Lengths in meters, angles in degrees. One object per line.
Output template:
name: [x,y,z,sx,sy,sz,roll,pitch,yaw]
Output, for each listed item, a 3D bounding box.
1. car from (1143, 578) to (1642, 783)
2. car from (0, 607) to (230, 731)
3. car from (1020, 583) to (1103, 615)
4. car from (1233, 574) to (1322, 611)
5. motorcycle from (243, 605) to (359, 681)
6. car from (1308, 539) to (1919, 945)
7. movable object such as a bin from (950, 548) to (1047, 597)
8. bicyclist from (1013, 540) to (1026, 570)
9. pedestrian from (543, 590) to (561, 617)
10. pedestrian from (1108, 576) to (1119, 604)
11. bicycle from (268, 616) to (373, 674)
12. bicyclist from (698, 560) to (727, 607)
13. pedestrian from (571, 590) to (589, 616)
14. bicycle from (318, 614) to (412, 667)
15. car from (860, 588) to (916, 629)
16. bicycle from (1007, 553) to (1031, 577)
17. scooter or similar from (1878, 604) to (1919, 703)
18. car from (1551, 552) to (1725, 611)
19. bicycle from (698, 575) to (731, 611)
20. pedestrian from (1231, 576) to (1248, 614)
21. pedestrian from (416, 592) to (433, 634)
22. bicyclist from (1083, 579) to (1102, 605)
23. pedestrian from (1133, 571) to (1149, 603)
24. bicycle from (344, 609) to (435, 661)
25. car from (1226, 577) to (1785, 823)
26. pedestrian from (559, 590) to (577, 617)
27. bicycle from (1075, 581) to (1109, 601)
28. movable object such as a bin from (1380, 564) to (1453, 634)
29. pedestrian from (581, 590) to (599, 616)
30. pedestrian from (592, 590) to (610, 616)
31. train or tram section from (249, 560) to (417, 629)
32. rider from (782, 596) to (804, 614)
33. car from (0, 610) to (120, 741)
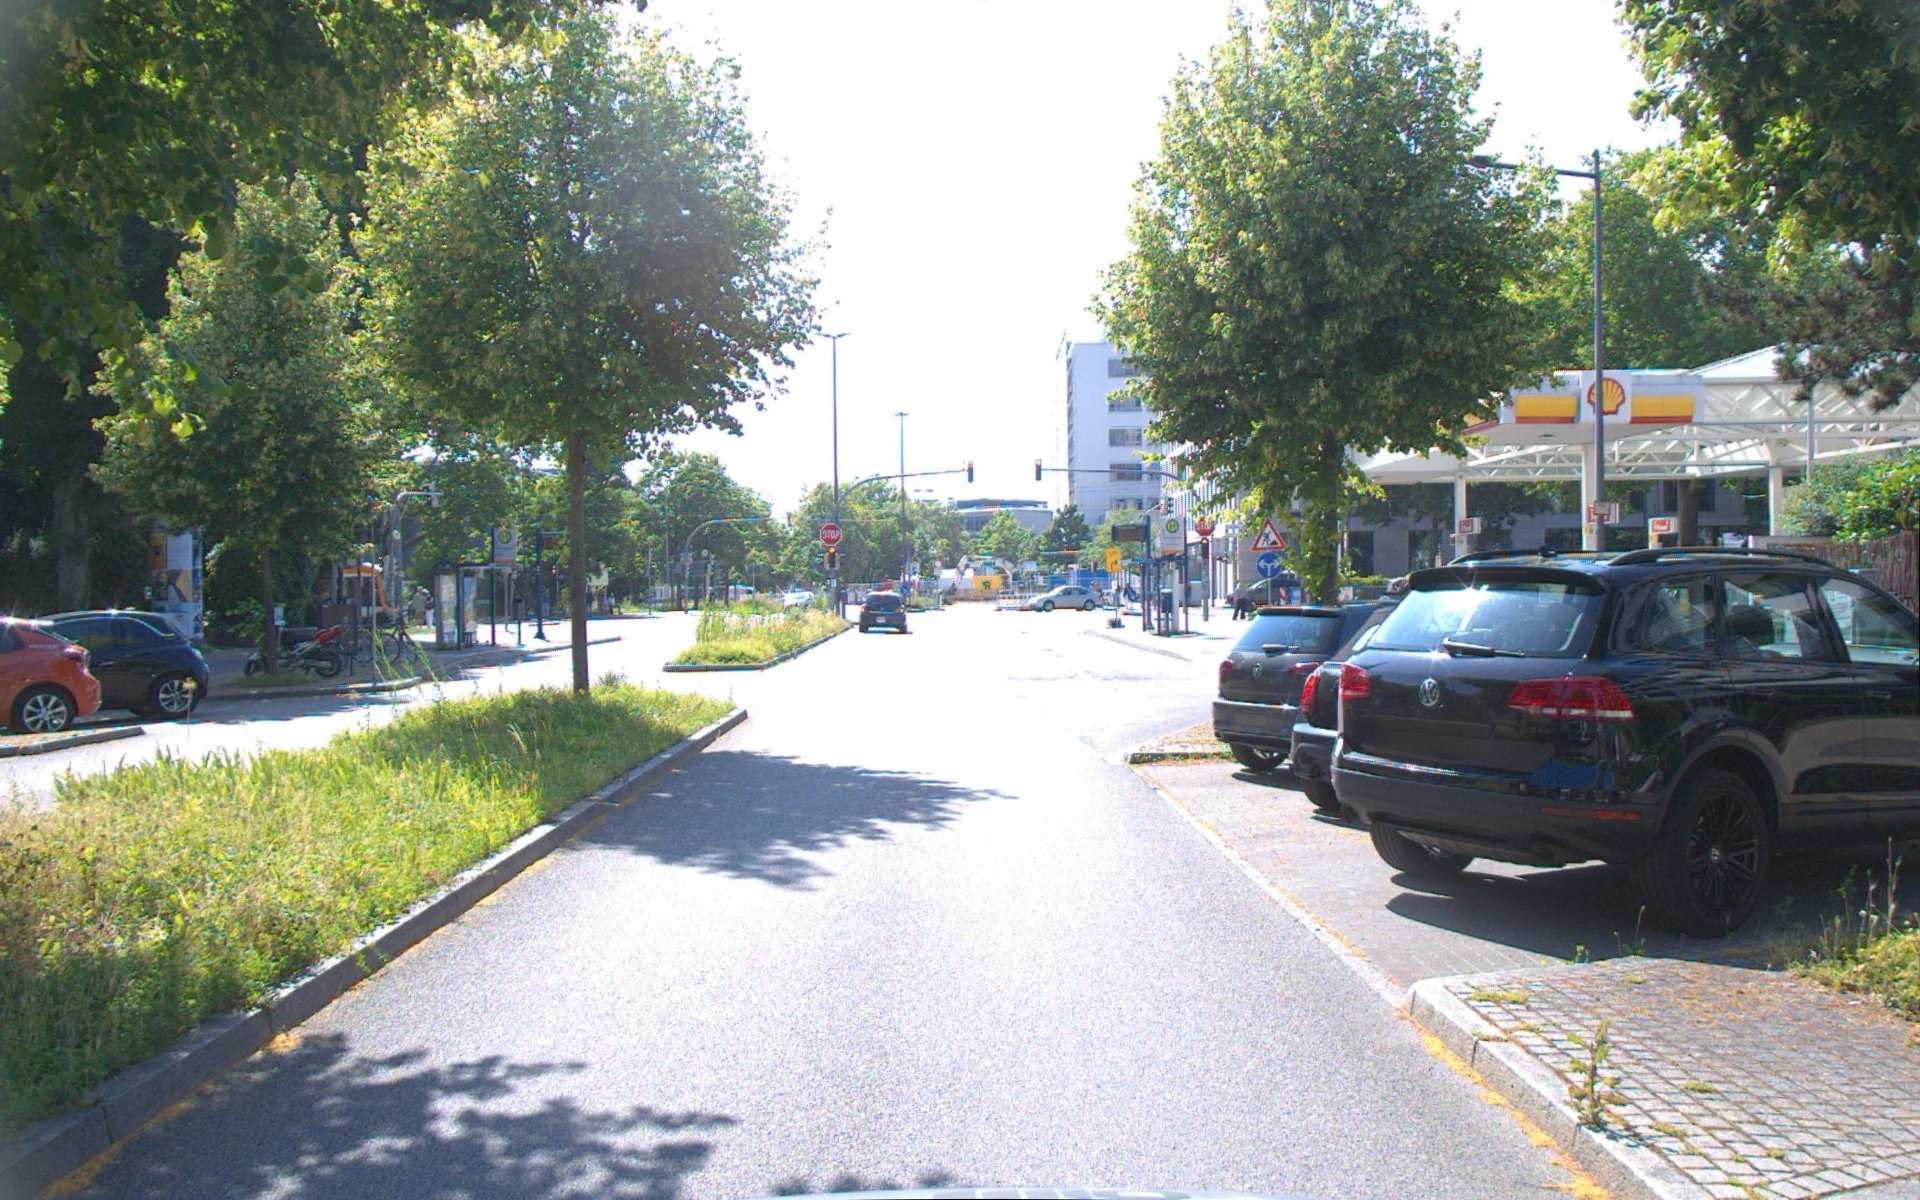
car: [3.852,0.608,14.666,4.058,1.557,1.981,-1,0,-29]
car: [-11.869,0.898,21.779,3.742,1.448,1.828,-2,0,-42]
car: [5.790,-0.063,94.421,4.313,1.667,1.990,-1,0,-18]
car: [18.402,-0.431,96.070,4.758,2.049,1.999,-1,0,-4]
motorcycle: [-11.891,0.766,29.878,1.810,1.307,0.692,-1,0,-8]
car: [4.201,0.555,8.865,4.684,1.689,1.734,-1,0,-32]
movable object such as a bin: [3.830,-2.716,163.732,9.476,4.629,3.164,0,0,1]
bicyclist: [5.101,-3.879,142.344,1.047,2.619,0.828,0,0,5]
pedestrian: [-25.300,0.220,102.496,0.641,1.639,0.942,0,0,22]
pedestrian: [10.103,-0.646,108.577,0.519,1.802,0.717,0,0,-14]
bicycle: [-12.744,0.900,32.964,1.807,1.111,0.693,-1,0,0]
bicyclist: [-16.078,-1.051,107.518,1.567,2.982,2.353,-1,0,-1]
pedestrian: [-23.651,0.193,102.903,0.641,1.639,0.942,0,0,22]
bicycle: [-13.085,0.889,36.397,1.807,1.125,0.693,-1,0,0]
car: [-2.675,0.279,60.632,1.954,1.422,3.997,-1,0,-4]
bicycle: [5.067,-3.025,142.343,2.044,1.996,0.828,0,0,5]
scooter or similar: [11.754,0.651,20.583,0.226,1.186,0.958,0,0,7]
car: [32.823,-0.910,80.199,7.282,2.721,2.900,-1,1,-4]
bicycle: [-16.073,-0.480,108.340,1.567,2.308,3.999,-1,0,-1]
pedestrian: [11.855,-0.219,70.088,0.606,1.570,0.461,-1,0,-2]
pedestrian: [-22.720,0.538,70.117,0.648,1.756,0.749,-1,0,-19]
bicyclist: [8.652,-0.517,107.975,1.213,1.702,0.525,0,0,7]
pedestrian: [11.704,-0.836,107.055,0.763,2.049,0.776,0,0,28]
bicycle: [-12.964,0.787,37.620,1.807,1.142,0.693,-1,0,0]
car: [4.009,0.602,12.010,3.948,1.499,1.750,-1,0,-32]
pedestrian: [-24.403,0.203,102.911,0.641,1.639,0.942,0,0,22]
bicycle: [8.595,-0.606,107.980,2.181,1.307,0.525,0,0,7]
movable object such as a bin: [11.282,-0.022,40.960,1.282,1.620,1.395,-3,0,-4]
pedestrian: [-22.851,0.185,102.136,0.641,1.639,0.942,0,0,22]
pedestrian: [-22.471,0.176,103.516,0.652,1.639,0.942,0,0,22]
train or tram section: [-32.216,-0.274,85.175,7.404,3.390,3.118,-1,0,-3]
rider: [-11.656,0.368,115.521,1.364,1.216,2.696,-1,0,-3]
car: [-11.837,0.872,18.873,3.801,1.448,1.693,-1,0,-37]
